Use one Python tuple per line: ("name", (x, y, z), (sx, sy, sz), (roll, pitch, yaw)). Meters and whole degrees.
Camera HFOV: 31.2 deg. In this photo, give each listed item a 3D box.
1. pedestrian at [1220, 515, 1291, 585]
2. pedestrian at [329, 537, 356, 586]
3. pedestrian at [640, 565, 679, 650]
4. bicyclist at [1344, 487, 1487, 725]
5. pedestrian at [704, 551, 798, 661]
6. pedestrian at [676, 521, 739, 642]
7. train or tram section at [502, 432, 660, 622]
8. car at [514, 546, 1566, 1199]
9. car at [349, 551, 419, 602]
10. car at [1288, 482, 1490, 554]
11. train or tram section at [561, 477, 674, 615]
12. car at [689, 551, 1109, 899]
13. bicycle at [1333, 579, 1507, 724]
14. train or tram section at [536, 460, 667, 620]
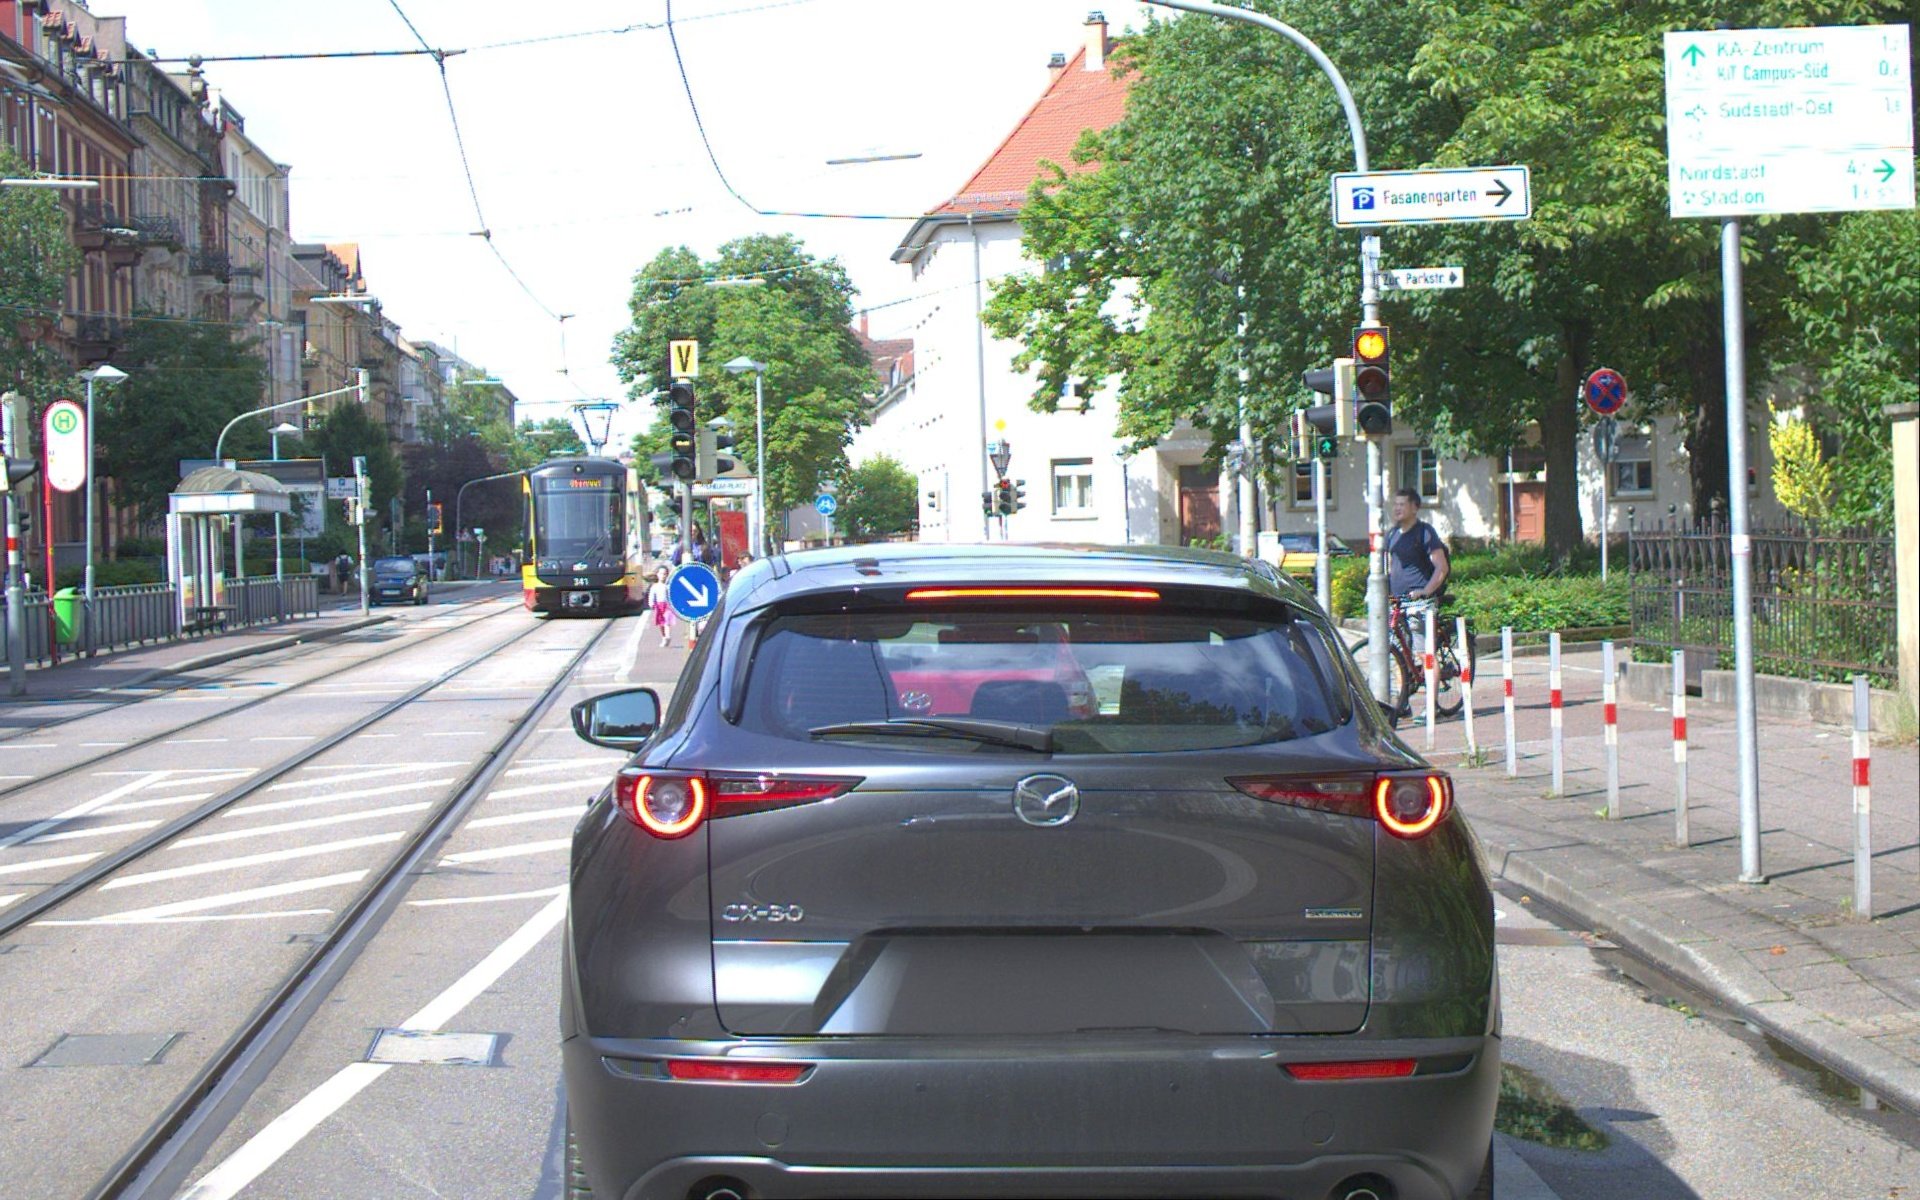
("pedestrian", (5.672, -0.957, 65.951), (1.192, 1.264, 0.558), (-4, 1, -9))
("pedestrian", (-21.406, -1.329, 119.188), (0.788, 1.682, 0.732), (-1, 1, -3))
("pedestrian", (-3.979, 0.097, 45.506), (0.422, 1.104, 0.439), (-4, 1, -7))
("bicyclist", (3.561, 0.042, 26.875), (0.733, 1.813, 0.820), (-2, 1, -27))
("pedestrian", (-2.589, 0.071, 42.560), (0.825, 1.299, 0.717), (-4, 1, -34))
("pedestrian", (-3.331, -0.247, 45.367), (0.728, 1.560, 0.799), (-2, 1, -9))
("train or tram section", (-8.690, -1.575, 80.241), (2.997, 3.970, 13.811), (-2, 0, -4))
("car", (0.124, 0.650, 7.871), (1.782, 1.509, 4.000), (1, 1, 0))
("car", (-17.148, -0.713, 102.463), (1.624, 1.382, 3.436), (-3, 1, -3))
("car", (9.779, -1.865, 78.428), (4.167, 1.504, 1.848), (-1, 3, 38))
("train or tram section", (-10.609, -1.607, 107.744), (2.997, 3.970, 13.811), (-2, 0, -4))
("car", (-0.340, 0.503, 16.488), (1.775, 1.459, 3.843), (0, 1, -2))
("bicycle", (3.624, 0.387, 26.957), (0.389, 1.032, 1.841), (-1, 2, 40))
("train or tram section", (-9.674, -1.536, 94.022), (2.997, 3.970, 13.811), (-2, 0, -4))
